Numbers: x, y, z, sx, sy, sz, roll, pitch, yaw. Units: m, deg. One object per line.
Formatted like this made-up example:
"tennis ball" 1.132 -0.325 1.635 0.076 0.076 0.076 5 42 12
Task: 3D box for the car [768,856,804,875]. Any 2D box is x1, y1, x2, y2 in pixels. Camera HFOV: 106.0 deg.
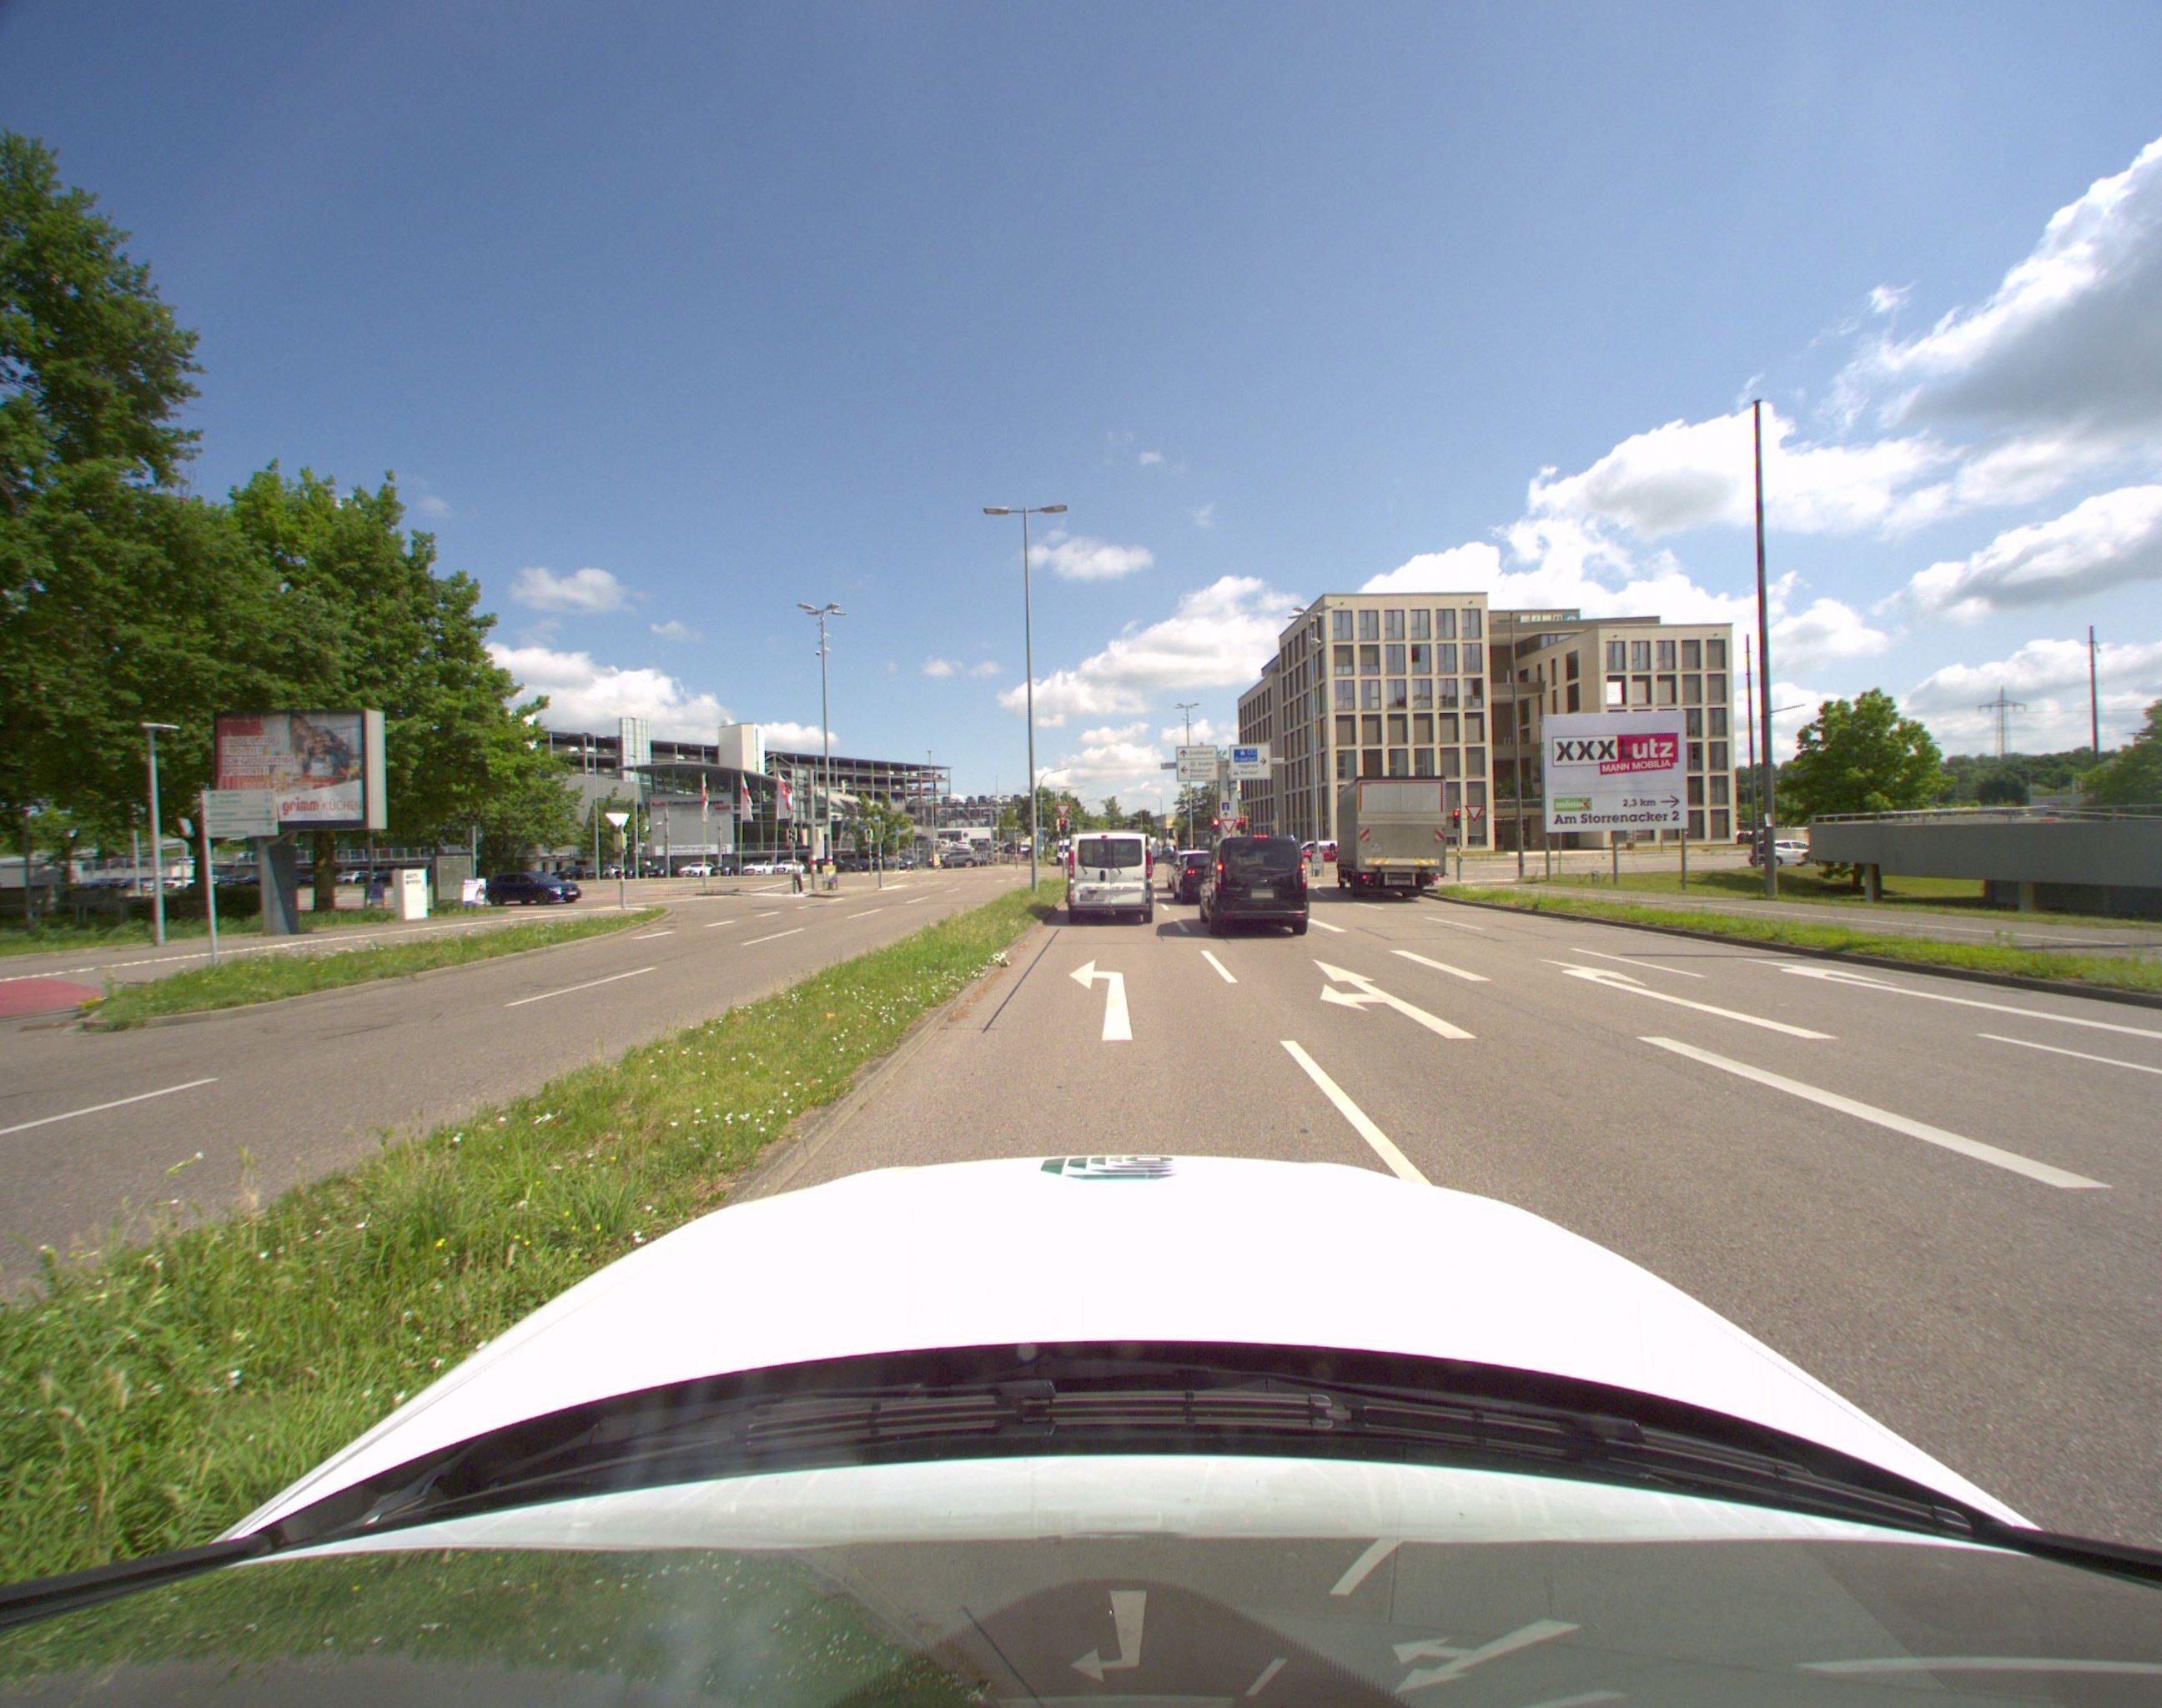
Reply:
"car" -26.013 0.993 72.043 1.771 1.450 4.027 -1 1 -1

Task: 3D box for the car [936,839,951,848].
"car" -22.228 -1.704 131.420 1.841 1.530 3.997 -1 1 -2

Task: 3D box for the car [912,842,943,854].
"car" -22.079 -0.859 116.956 4.156 1.713 1.687 -1 0 -4

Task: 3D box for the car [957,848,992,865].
"car" -11.529 0.249 87.934 3.498 1.712 1.602 -3 1 -2

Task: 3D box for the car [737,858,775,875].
"car" -28.614 1.073 71.889 1.902 1.376 3.750 -1 1 -2

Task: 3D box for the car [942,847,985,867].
"car" -11.550 0.308 80.261 3.902 1.712 1.688 -3 1 -2

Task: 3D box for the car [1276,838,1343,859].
"car" 18.879 -0.445 67.502 4.967 1.607 2.000 -1 1 -1

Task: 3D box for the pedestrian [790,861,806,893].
"pedestrian" -13.283 1.080 38.248 0.464 1.512 0.515 -1 0 27

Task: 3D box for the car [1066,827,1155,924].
"car" 0.762 0.446 18.993 1.847 2.018 4.005 0 0 4

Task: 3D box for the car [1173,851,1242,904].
"car" 3.830 0.667 25.299 1.733 1.495 4.004 0 1 3

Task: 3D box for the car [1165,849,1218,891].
"car" 4.278 0.588 32.051 1.733 1.543 4.003 0 0 3

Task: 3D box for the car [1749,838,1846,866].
"car" 39.127 -0.132 44.524 3.836 1.466 1.696 -1 1 1

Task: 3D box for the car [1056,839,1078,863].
"car" -1.367 -0.335 80.058 1.966 2.256 4.978 -3 1 -1

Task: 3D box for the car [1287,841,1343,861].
"car" 18.196 -0.232 63.480 3.880 1.490 1.795 -1 1 1

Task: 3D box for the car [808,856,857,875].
"car" -21.894 1.003 71.826 3.783 1.513 1.677 -1 1 -3

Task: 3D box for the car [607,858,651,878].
"car" -40.658 1.247 73.345 1.810 1.664 3.791 0 0 -1

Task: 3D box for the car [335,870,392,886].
"car" -59.892 1.980 68.058 1.585 1.191 3.506 -1 0 2

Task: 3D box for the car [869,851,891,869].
"car" -17.835 0.509 72.262 1.820 1.552 3.980 -1 0 -15

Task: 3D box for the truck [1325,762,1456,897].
"truck" 10.381 -0.721 28.305 3.108 3.940 8.890 -1 0 13

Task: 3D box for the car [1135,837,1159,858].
"car" 7.333 -0.770 90.849 1.989 2.255 5.509 -1 1 -3

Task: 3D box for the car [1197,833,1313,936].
"car" 3.346 0.519 16.308 1.811 1.808 4.006 0 0 5

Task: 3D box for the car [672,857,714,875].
"car" -34.164 1.018 71.806 1.874 1.486 3.699 -1 1 -1

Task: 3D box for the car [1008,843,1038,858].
"car" -7.708 -0.430 108.970 3.980 1.926 1.824 -1 0 -5

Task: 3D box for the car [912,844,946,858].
"car" -19.973 -0.419 107.083 4.156 1.713 1.687 -1 0 -4

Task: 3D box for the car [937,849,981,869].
"car" -11.604 0.474 77.565 3.851 1.639 1.857 -3 1 -2

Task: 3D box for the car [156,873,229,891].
"car" -77.115 2.413 70.756 1.790 1.254 4.003 -1 1 2

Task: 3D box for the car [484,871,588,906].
"car" -27.082 1.709 40.534 3.962 1.510 2.006 -2 1 10

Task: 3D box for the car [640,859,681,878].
"car" -36.943 1.229 71.612 1.722 1.486 3.699 -1 1 -1

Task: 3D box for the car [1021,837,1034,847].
"car" -8.501 -1.911 129.989 1.841 1.530 3.997 -1 1 -2

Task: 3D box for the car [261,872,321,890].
"car" -66.815 2.246 68.939 1.585 1.390 3.506 -1 0 2

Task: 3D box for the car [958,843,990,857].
"car" -14.217 -0.546 108.514 4.157 1.712 1.687 0 1 -4

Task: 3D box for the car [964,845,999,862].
"car" -11.772 -0.072 96.286 3.902 1.712 1.688 -3 1 -2

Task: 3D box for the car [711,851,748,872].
"car" -30.967 0.641 71.777 1.752 1.660 3.614 -1 1 -2

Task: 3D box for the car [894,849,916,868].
"car" -15.745 0.386 72.769 1.820 1.552 3.980 -1 0 -15

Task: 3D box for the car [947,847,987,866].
"car" -11.819 0.233 84.715 3.902 1.712 1.688 -3 1 -2

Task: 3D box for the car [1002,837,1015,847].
"car" -11.607 -1.978 130.012 1.841 1.530 3.997 -1 1 -2

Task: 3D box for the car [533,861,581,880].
"car" -44.847 1.385 69.782 1.832 1.488 3.698 -1 1 -3
